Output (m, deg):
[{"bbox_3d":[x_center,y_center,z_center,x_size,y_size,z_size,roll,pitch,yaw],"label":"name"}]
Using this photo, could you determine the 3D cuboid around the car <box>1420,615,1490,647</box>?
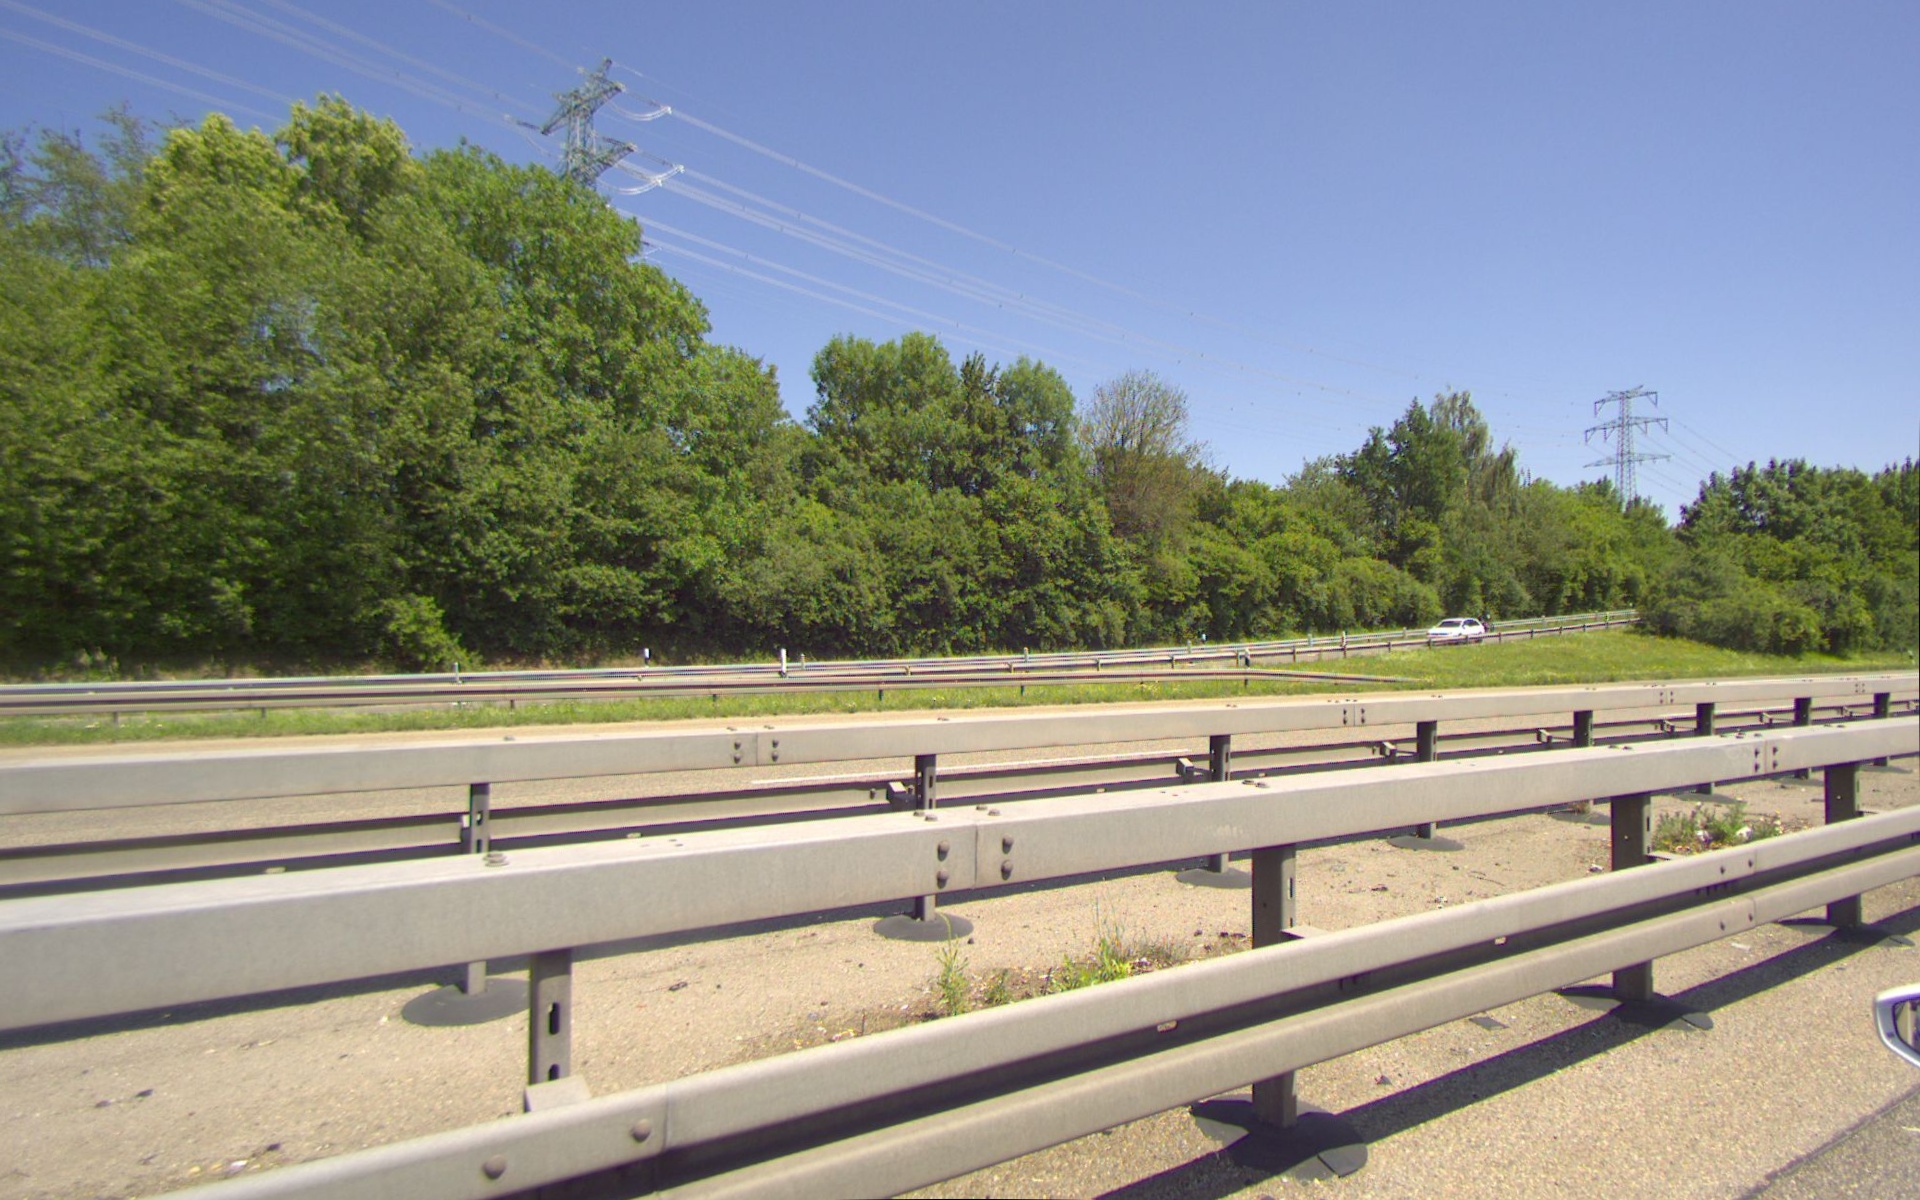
[{"bbox_3d":[27.908,1.757,56.555,4.859,1.696,1.621,2,0,-39],"label":"car"}]
